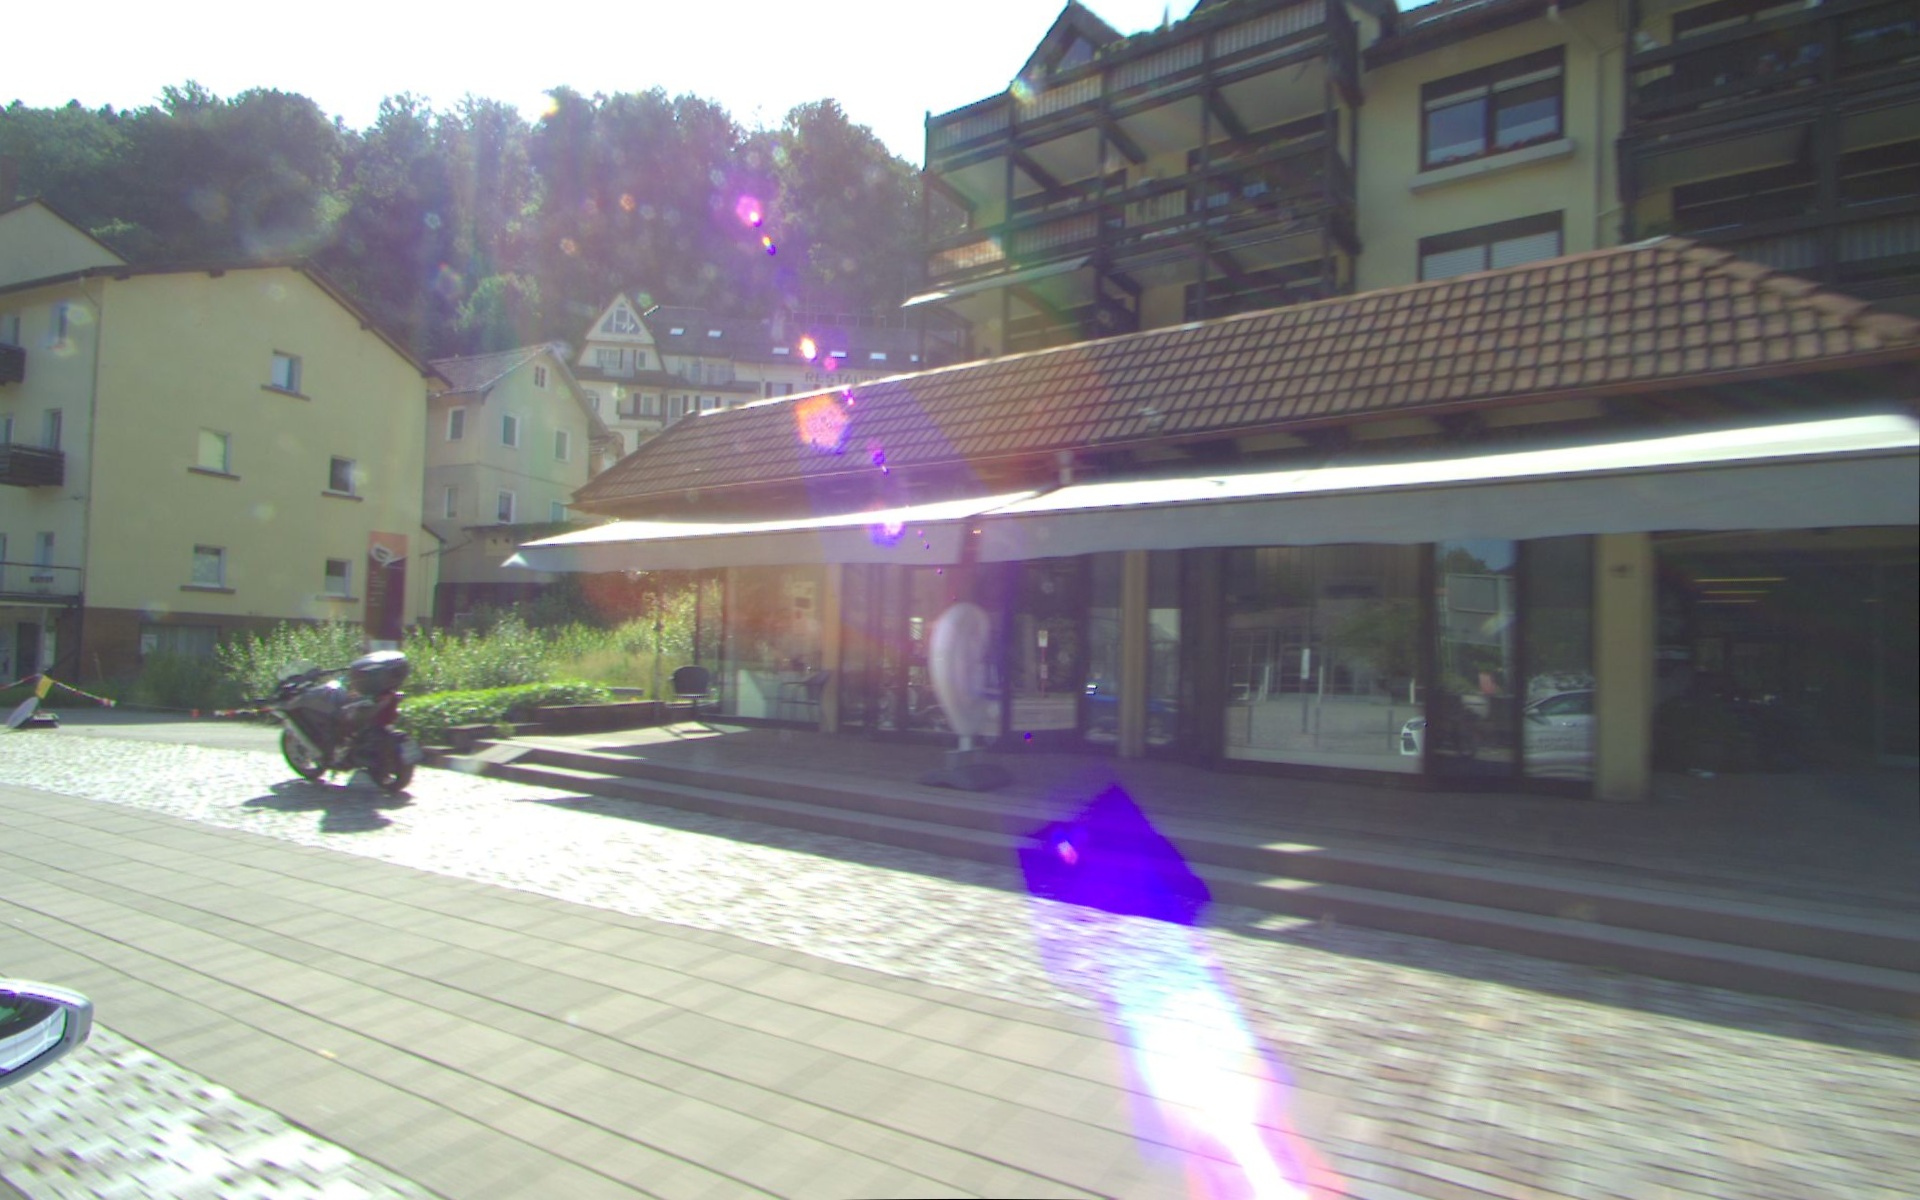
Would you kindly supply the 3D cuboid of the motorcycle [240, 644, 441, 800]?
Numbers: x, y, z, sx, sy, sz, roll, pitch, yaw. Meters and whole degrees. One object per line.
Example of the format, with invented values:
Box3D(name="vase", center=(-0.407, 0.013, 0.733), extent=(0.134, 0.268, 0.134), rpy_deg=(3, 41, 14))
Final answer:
Box3D(name="motorcycle", center=(-5.925, 1.094, 9.533), extent=(2.179, 1.313, 0.696), rpy_deg=(0, -1, 31))
